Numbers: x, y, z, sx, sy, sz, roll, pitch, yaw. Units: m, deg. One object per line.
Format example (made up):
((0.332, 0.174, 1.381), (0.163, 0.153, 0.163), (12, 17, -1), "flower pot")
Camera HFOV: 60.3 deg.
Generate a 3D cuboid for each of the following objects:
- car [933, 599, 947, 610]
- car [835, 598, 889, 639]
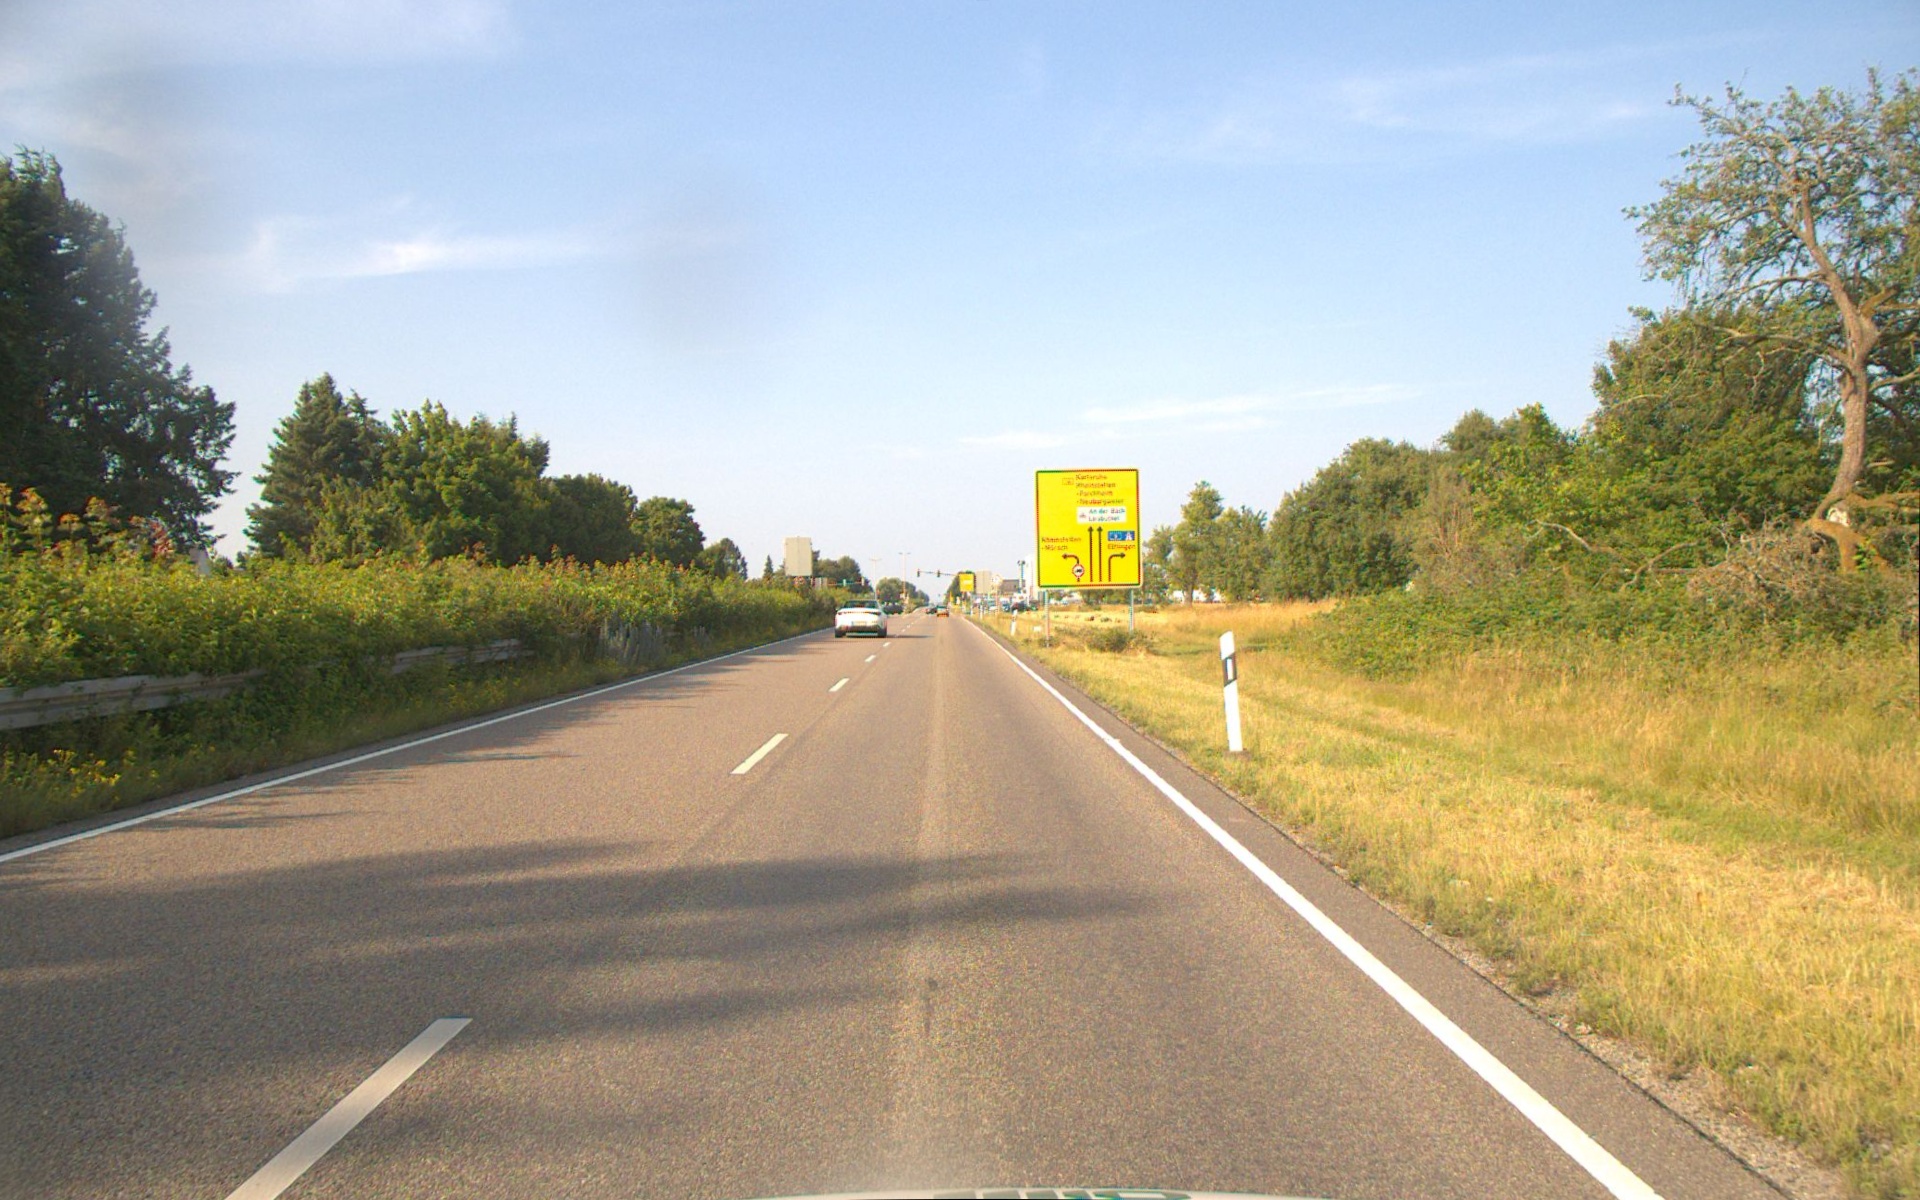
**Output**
((-2.818, 0.599, 236.628), (1.953, 1.512, 3.999), (0, 0, -1), "car")
((-3.597, 0.667, 61.335), (1.871, 1.447, 3.999), (0, 0, -1), "car")
